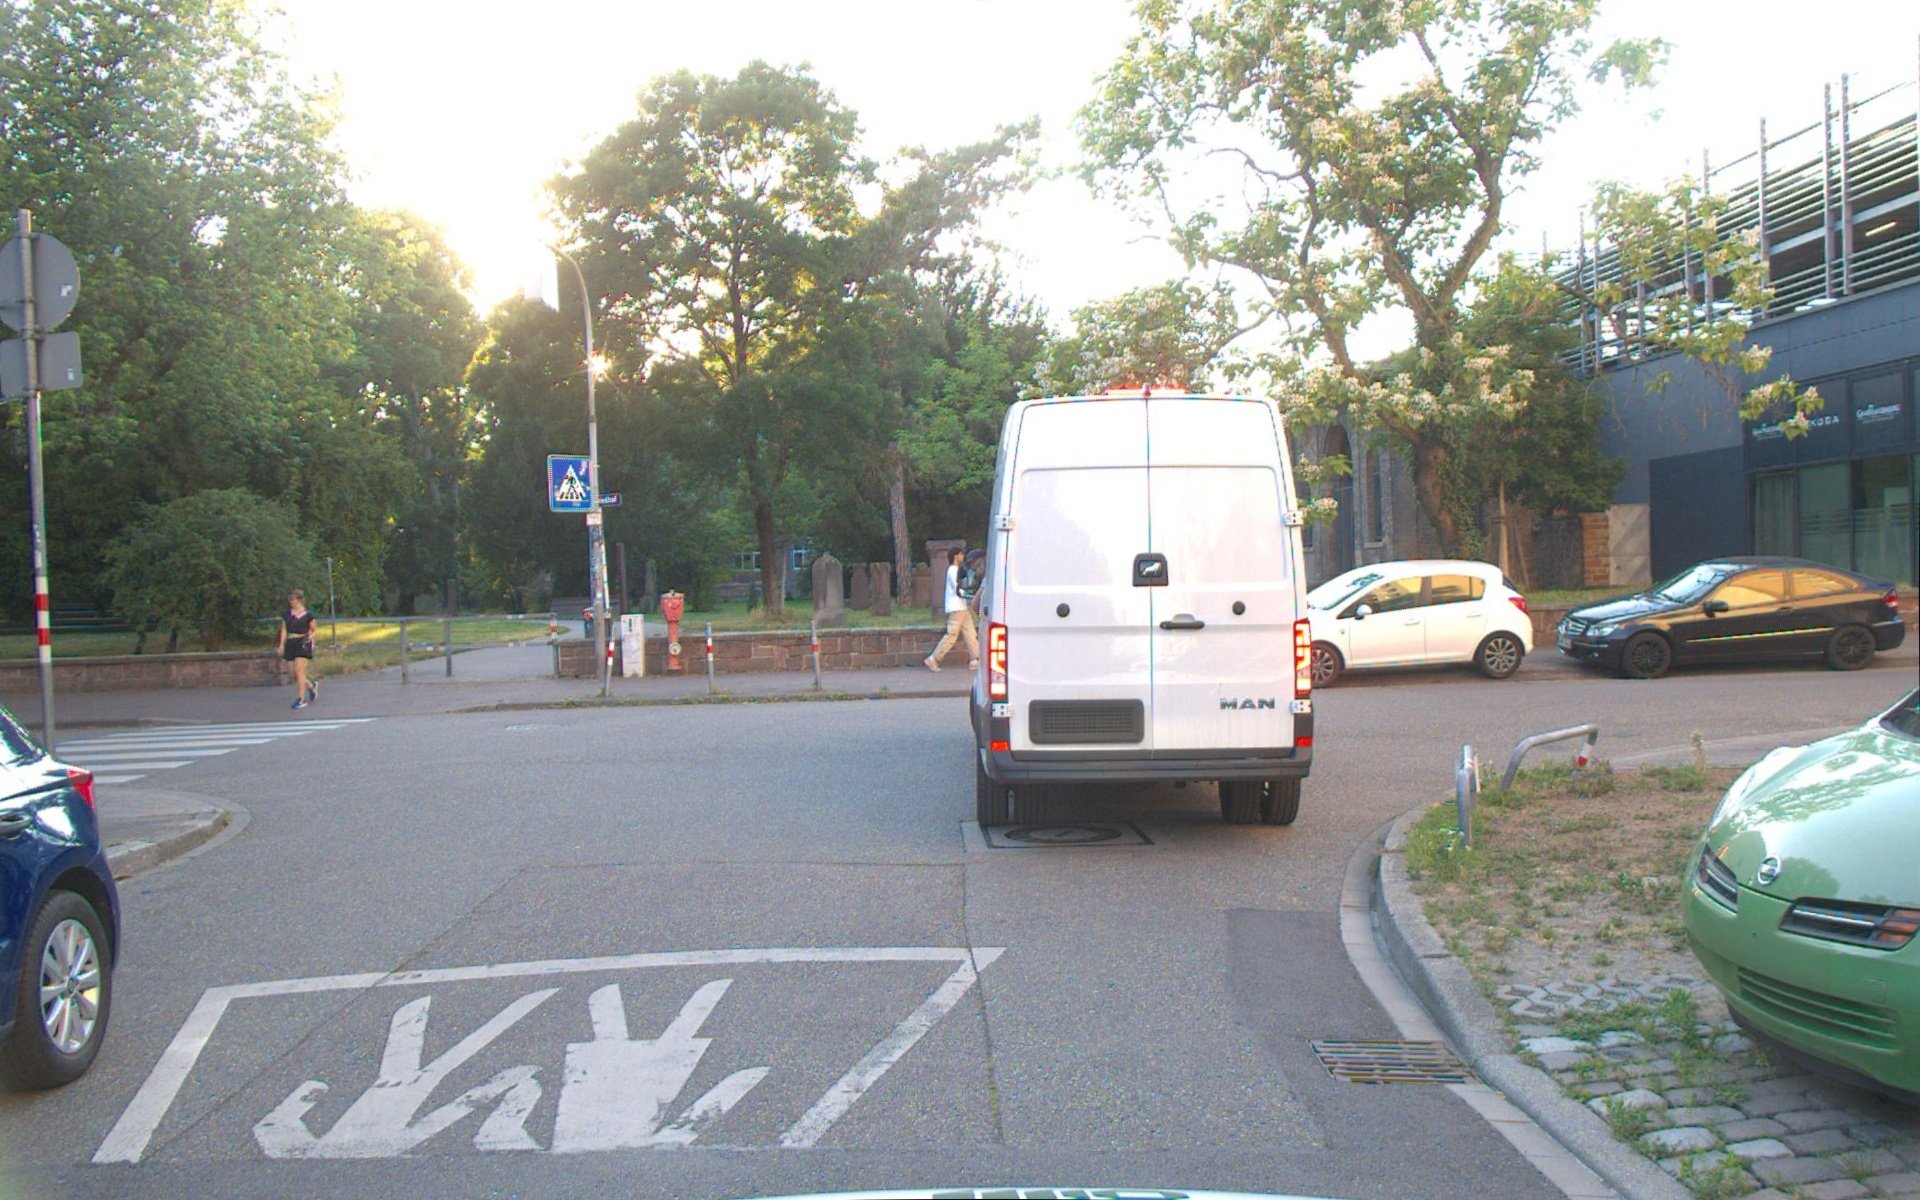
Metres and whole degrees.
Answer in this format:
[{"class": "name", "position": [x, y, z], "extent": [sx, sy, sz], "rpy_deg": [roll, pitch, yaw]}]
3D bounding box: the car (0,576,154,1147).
[{"class": "car", "position": [-3.489, 0.785, 3.704], "extent": [1.700, 1.594, 3.787], "rpy_deg": [-3, 1, -5]}]

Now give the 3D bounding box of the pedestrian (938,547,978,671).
[{"class": "pedestrian", "position": [-0.031, 0.129, 24.834], "extent": [0.581, 1.840, 0.620], "rpy_deg": [-1, 0, -1]}]

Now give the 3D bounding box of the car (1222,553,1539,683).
[{"class": "car", "position": [5.674, 0.216, 22.621], "extent": [3.779, 1.601, 1.957], "rpy_deg": [-1, 1, -4]}]

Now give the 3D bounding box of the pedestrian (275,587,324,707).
[{"class": "pedestrian", "position": [-9.481, 0.662, 23.760], "extent": [0.637, 1.677, 0.670], "rpy_deg": [0, 1, -21]}]

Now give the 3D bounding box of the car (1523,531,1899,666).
[{"class": "car", "position": [10.060, -0.029, 22.395], "extent": [4.204, 1.529, 1.824], "rpy_deg": [-3, 0, 2]}]

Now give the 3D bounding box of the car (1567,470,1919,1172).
[{"class": "car", "position": [4.337, 0.429, 4.905], "extent": [4.318, 1.660, 1.844], "rpy_deg": [-3, -1, -5]}]

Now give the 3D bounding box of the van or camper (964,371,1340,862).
[{"class": "van or camper", "position": [1.064, 0.048, 12.263], "extent": [1.953, 2.664, 6.402], "rpy_deg": [-1, 1, -1]}]
